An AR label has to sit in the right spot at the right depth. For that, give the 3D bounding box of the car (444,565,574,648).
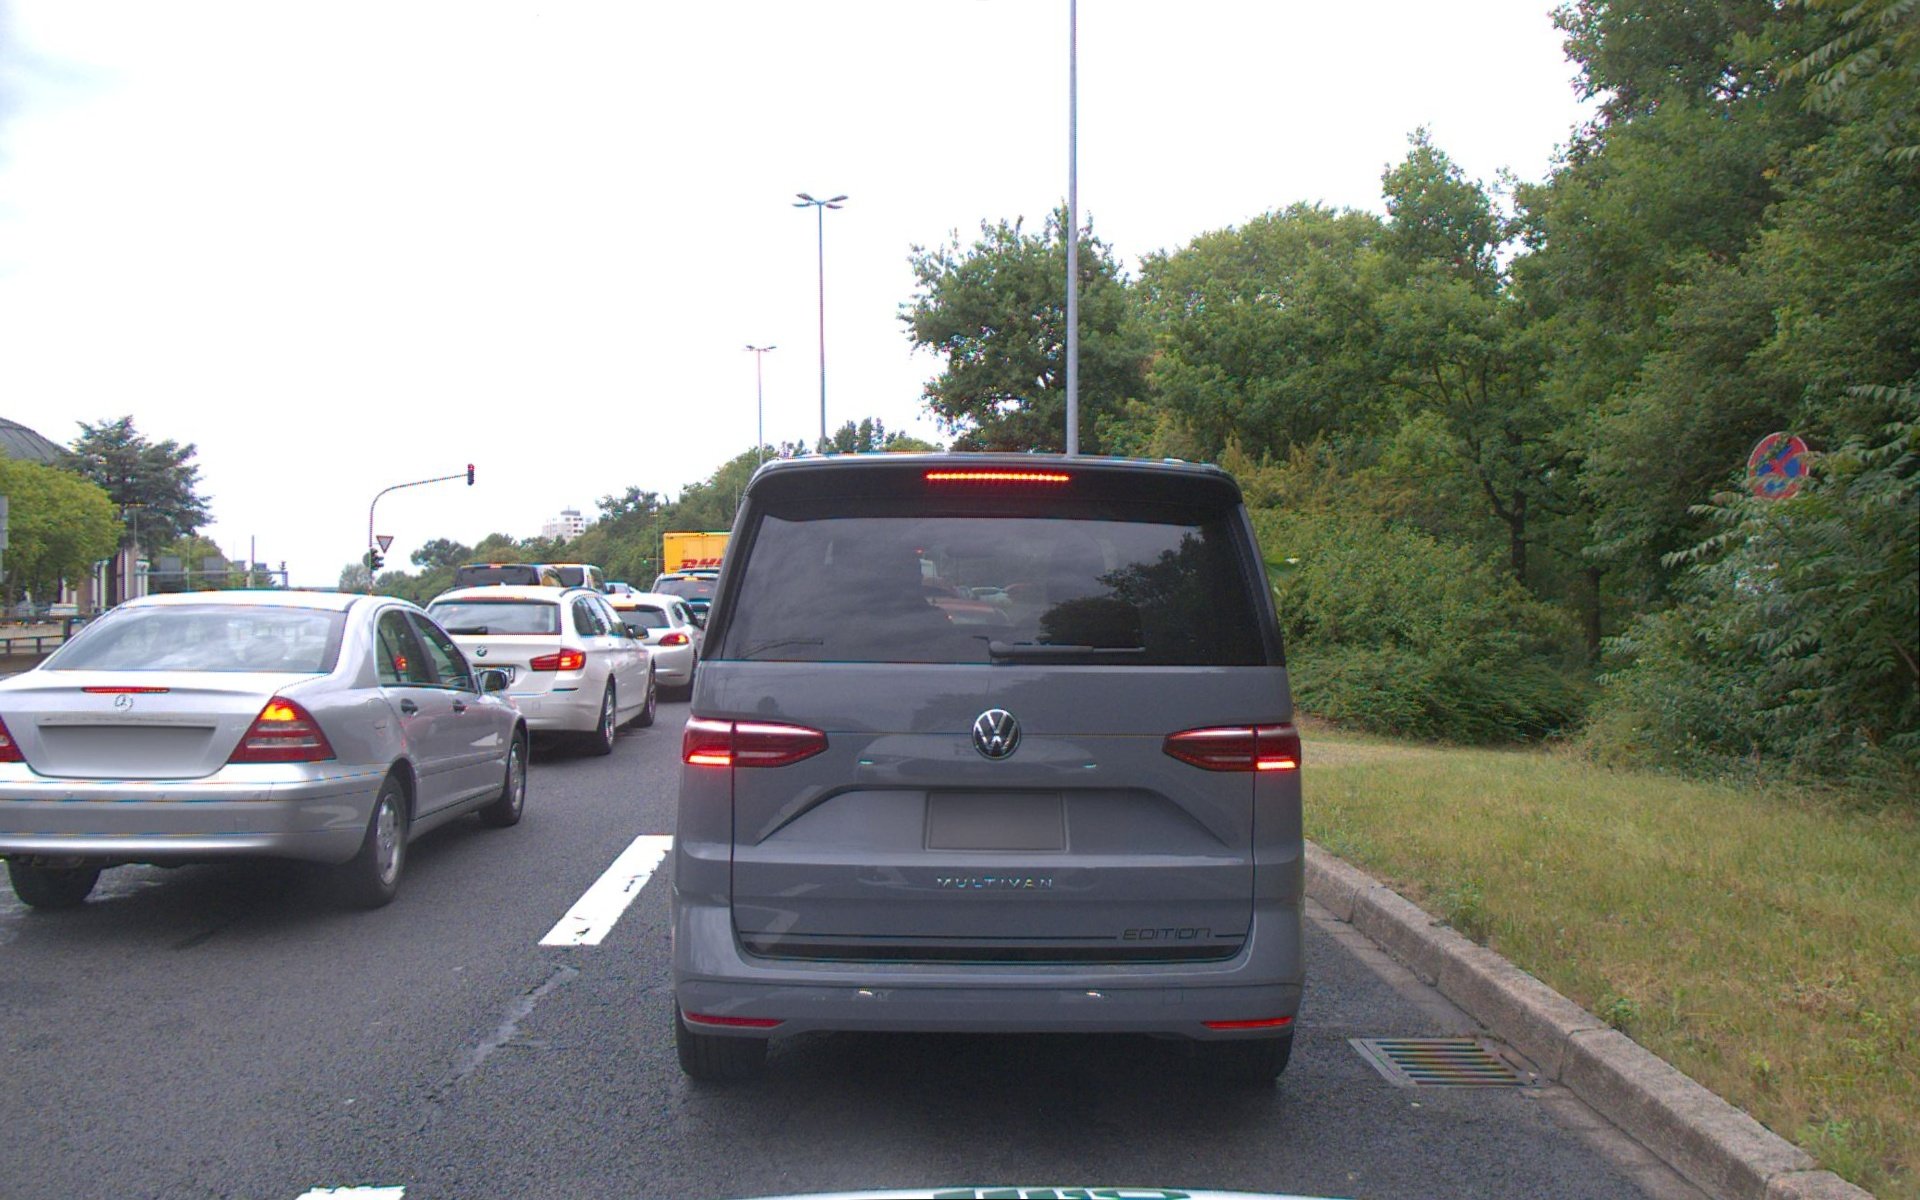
[{"bbox_3d":[-8.964,0.121,33.162,1.591,1.521,4.294,1,0,-3],"label":"car"}]

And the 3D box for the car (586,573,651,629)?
[{"bbox_3d":[-11.106,0.027,53.970,1.592,1.731,4.291,1,0,-5],"label":"car"}]

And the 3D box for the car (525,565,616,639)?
[{"bbox_3d":[-9.623,0.040,41.143,1.592,1.731,4.291,1,0,-5],"label":"car"}]

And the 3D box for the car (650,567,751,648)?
[{"bbox_3d":[-5.872,0.161,37.939,1.847,1.730,4.426,1,0,-3],"label":"car"}]

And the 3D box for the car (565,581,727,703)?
[{"bbox_3d":[-4.248,0.529,22.942,1.591,1.521,4.294,1,0,-3],"label":"car"}]

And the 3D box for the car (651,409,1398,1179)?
[{"bbox_3d":[0.129,0.492,6.368,1.860,1.917,4.414,1,0,-1],"label":"car"}]

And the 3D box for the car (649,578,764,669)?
[{"bbox_3d":[-4.534,0.400,30.091,1.591,1.521,4.294,1,0,-3],"label":"car"}]

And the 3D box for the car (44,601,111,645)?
[{"bbox_3d":[-52.105,1.326,97.748,2.295,2.503,5.208,0,0,-14],"label":"car"}]

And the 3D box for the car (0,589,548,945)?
[{"bbox_3d":[-3.442,0.671,8.788,1.591,1.419,4.306,1,0,-3],"label":"car"}]

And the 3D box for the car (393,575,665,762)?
[{"bbox_3d":[-3.954,0.565,15.906,1.591,1.521,4.544,1,0,-3],"label":"car"}]

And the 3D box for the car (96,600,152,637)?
[{"bbox_3d":[-58.147,1.261,115.127,2.295,2.503,5.208,0,0,-14],"label":"car"}]

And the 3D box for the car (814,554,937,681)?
[{"bbox_3d":[-1.412,0.272,27.372,1.847,1.912,4.426,1,0,-3],"label":"car"}]
